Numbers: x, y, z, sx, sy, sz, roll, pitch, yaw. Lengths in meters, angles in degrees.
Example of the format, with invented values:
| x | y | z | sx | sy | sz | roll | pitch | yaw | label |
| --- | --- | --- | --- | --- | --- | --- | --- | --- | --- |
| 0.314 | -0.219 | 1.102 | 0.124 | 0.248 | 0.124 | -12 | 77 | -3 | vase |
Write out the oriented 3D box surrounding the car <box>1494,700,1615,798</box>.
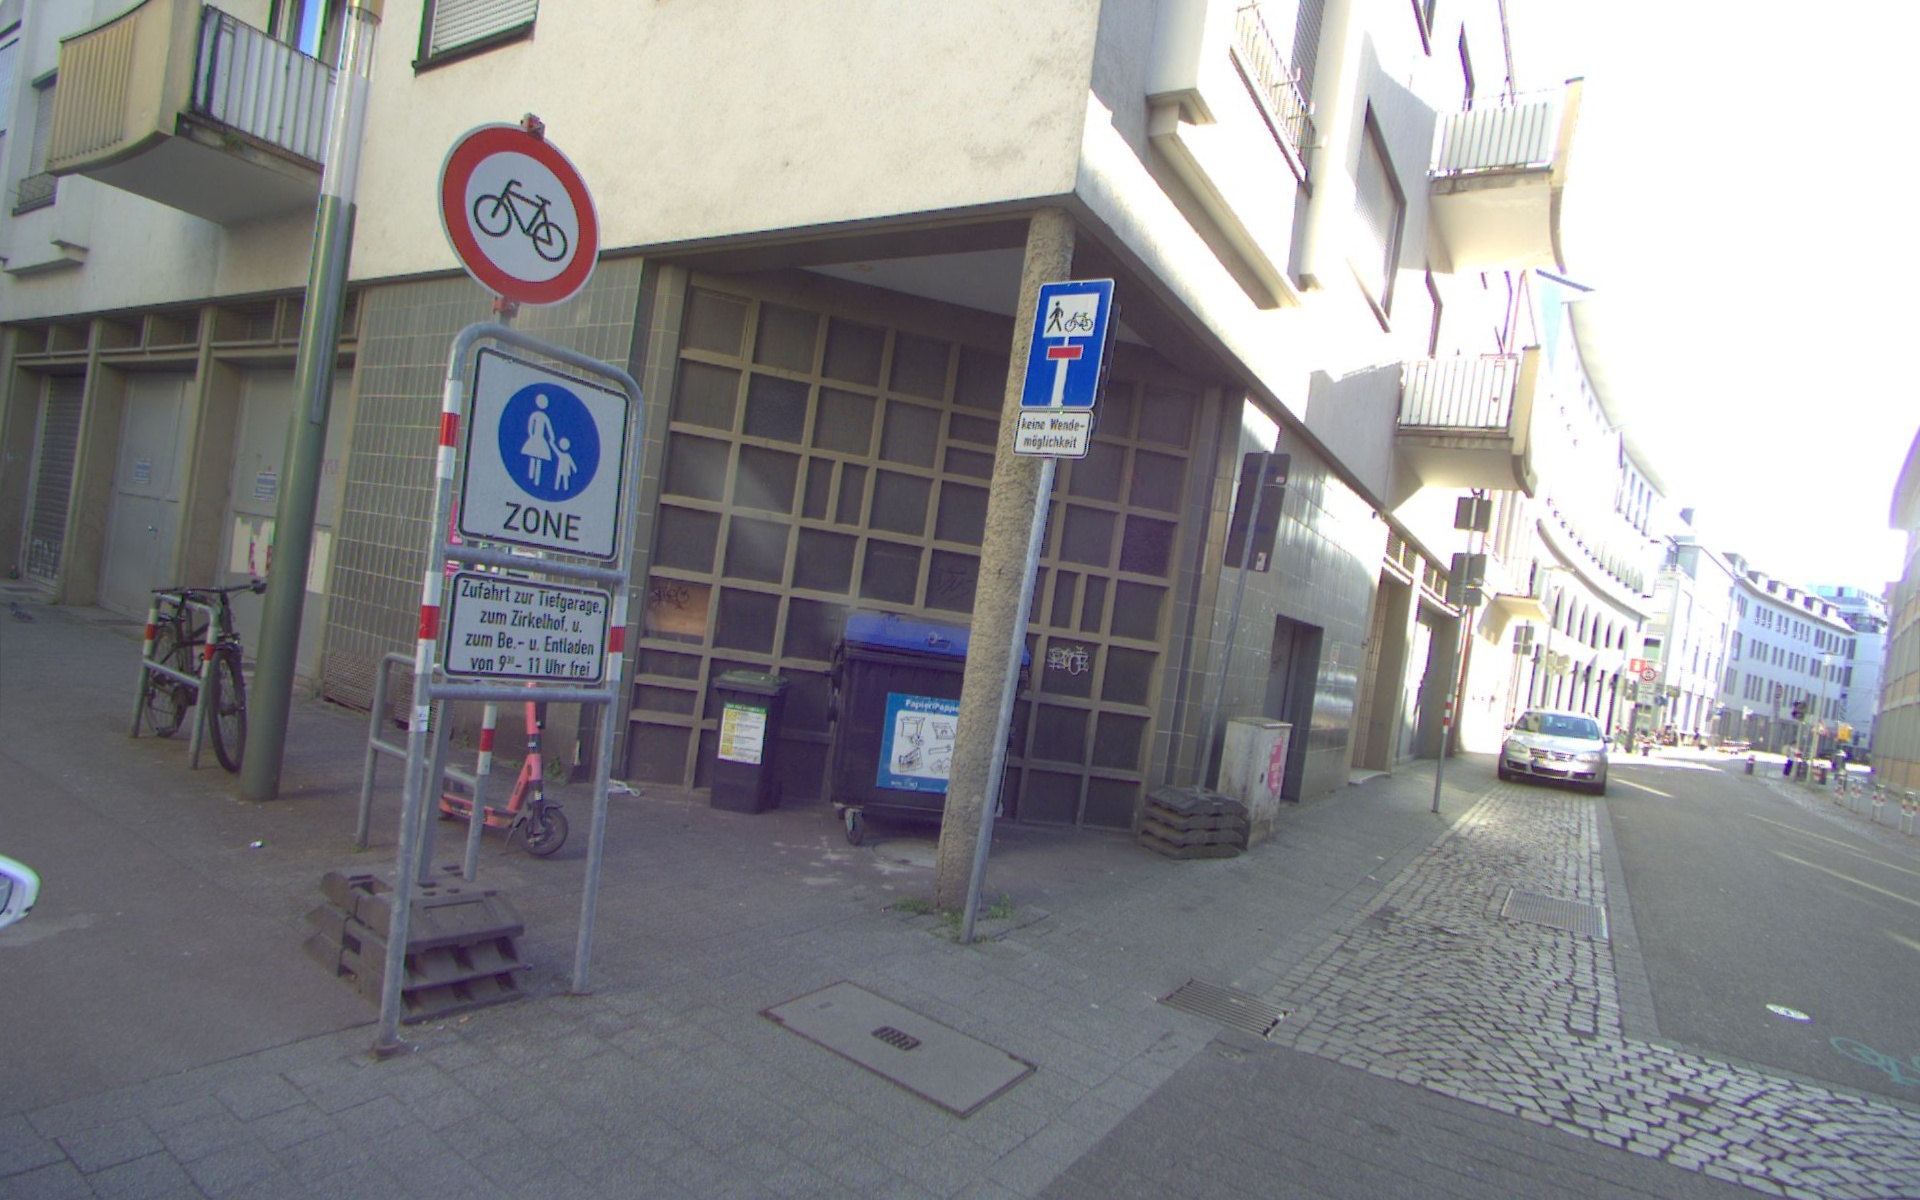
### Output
| x | y | z | sx | sy | sz | roll | pitch | yaw | label |
| --- | --- | --- | --- | --- | --- | --- | --- | --- | --- |
| 11.660 | 2.822 | 19.646 | 1.742 | 1.487 | 3.805 | 6 | -2 | 33 | car |

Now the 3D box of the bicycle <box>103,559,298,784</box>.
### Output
| x | y | z | sx | sy | sz | roll | pitch | yaw | label |
| --- | --- | --- | --- | --- | --- | --- | --- | --- | --- |
| -4.723 | 0.393 | 6.213 | 1.684 | 1.153 | 0.446 | 6 | -1 | 38 | bicycle |

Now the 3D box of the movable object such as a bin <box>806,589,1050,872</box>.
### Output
| x | y | z | sx | sy | sz | roll | pitch | yaw | label |
| --- | --- | --- | --- | --- | --- | --- | --- | --- | --- |
| -0.273 | 0.830 | 6.839 | 1.271 | 1.609 | 1.152 | 8 | 1 | -12 | movable object such as a bin |

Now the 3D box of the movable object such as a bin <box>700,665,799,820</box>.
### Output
| x | y | z | sx | sy | sz | roll | pitch | yaw | label |
| --- | --- | --- | --- | --- | --- | --- | --- | --- | --- |
| -1.451 | 0.964 | 6.895 | 0.533 | 0.935 | 0.512 | 7 | 0 | -14 | movable object such as a bin |

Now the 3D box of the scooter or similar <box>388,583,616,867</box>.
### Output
| x | y | z | sx | sy | sz | roll | pitch | yaw | label |
| --- | --- | --- | --- | --- | --- | --- | --- | --- | --- |
| -2.441 | 0.617 | 5.319 | 1.218 | 1.268 | 0.307 | 7 | 0 | 30 | scooter or similar |

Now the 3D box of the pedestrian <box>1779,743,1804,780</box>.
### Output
| x | y | z | sx | sy | sz | roll | pitch | yaw | label |
| --- | --- | --- | --- | --- | --- | --- | --- | --- | --- |
| 35.573 | 6.890 | 43.045 | 0.649 | 1.458 | 0.594 | 8 | 0 | 35 | pedestrian |
